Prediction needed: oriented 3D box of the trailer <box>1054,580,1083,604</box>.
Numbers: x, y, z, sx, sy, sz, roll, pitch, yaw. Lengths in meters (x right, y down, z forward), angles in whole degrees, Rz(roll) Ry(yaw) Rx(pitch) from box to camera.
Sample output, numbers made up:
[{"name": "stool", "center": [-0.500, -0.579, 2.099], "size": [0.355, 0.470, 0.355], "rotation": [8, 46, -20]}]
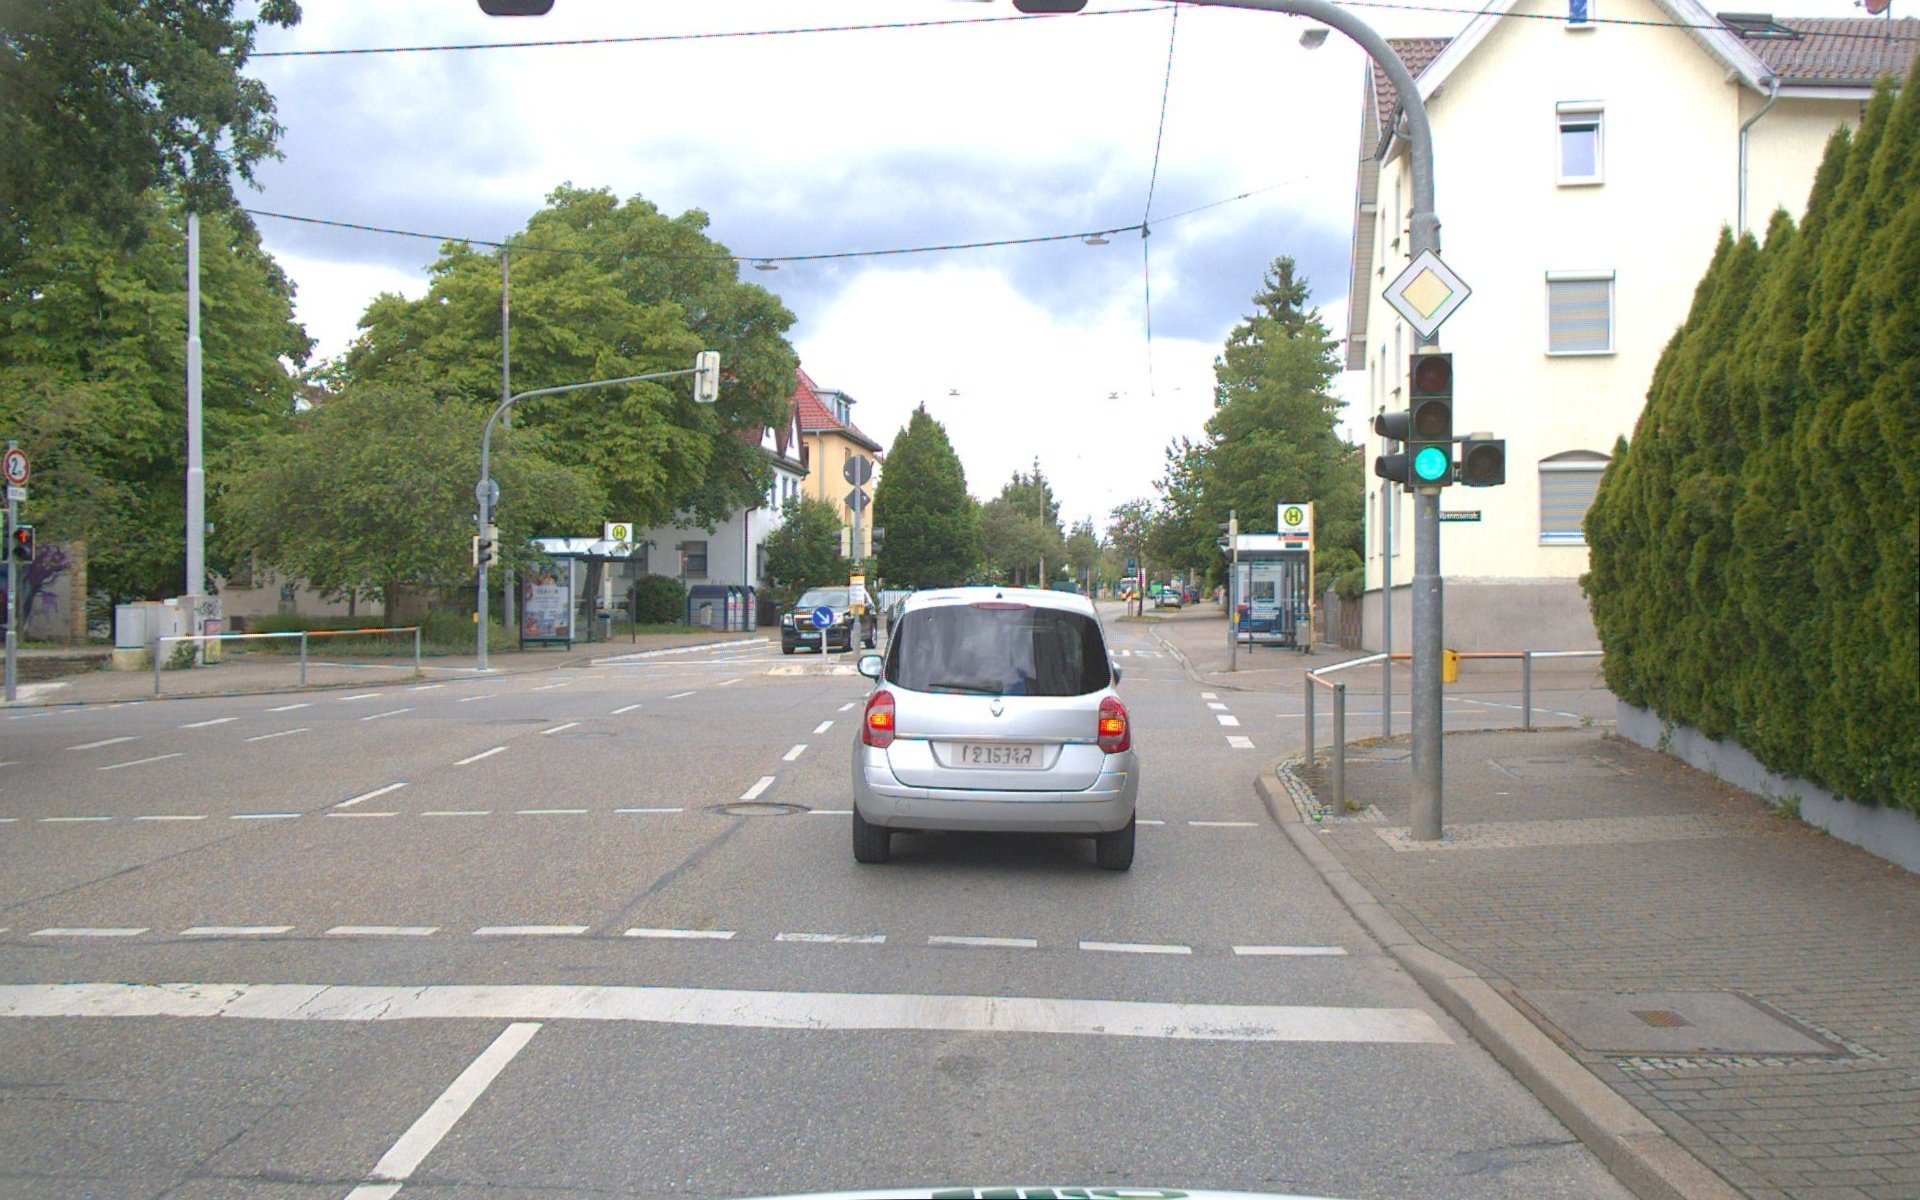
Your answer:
[{"name": "trailer", "center": [10.176, -0.698, 155.005], "size": [2.263, 2.123, 5.877], "rotation": [1, -1, 8]}]

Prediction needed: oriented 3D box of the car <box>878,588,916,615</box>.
[{"name": "car", "center": [-3.978, 0.053, 104.754], "size": [1.768, 1.591, 4.621], "rotation": [-2, 0, 5]}]

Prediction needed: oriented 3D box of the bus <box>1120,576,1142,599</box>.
[{"name": "bus", "center": [24.368, -1.805, 235.536], "size": [2.576, 3.140, 12.079], "rotation": [-2, 0, 8]}]

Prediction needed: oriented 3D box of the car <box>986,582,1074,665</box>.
[{"name": "car", "center": [1.515, 0.486, 35.834], "size": [1.791, 1.705, 3.575], "rotation": [0, 0, 2]}]

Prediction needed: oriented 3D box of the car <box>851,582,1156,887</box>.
[{"name": "car", "center": [0.270, 0.737, 10.825], "size": [1.596, 1.584, 4.000], "rotation": [1, -1, 1]}]

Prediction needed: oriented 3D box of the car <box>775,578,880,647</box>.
[{"name": "car", "center": [-3.421, 0.355, 43.415], "size": [1.720, 1.663, 4.598], "rotation": [-2, -1, 8]}]

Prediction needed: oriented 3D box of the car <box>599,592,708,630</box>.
[{"name": "car", "center": [-12.290, 0.440, 66.397], "size": [3.902, 1.355, 1.723], "rotation": [-2, -1, 7]}]

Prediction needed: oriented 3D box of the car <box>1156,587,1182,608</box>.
[{"name": "car", "center": [14.377, -0.143, 113.869], "size": [1.615, 1.406, 4.003], "rotation": [0, -1, 10]}]

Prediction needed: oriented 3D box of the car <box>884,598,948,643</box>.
[{"name": "car", "center": [-1.444, 0.690, 55.645], "size": [1.530, 1.445, 4.133], "rotation": [0, -1, 8]}]
